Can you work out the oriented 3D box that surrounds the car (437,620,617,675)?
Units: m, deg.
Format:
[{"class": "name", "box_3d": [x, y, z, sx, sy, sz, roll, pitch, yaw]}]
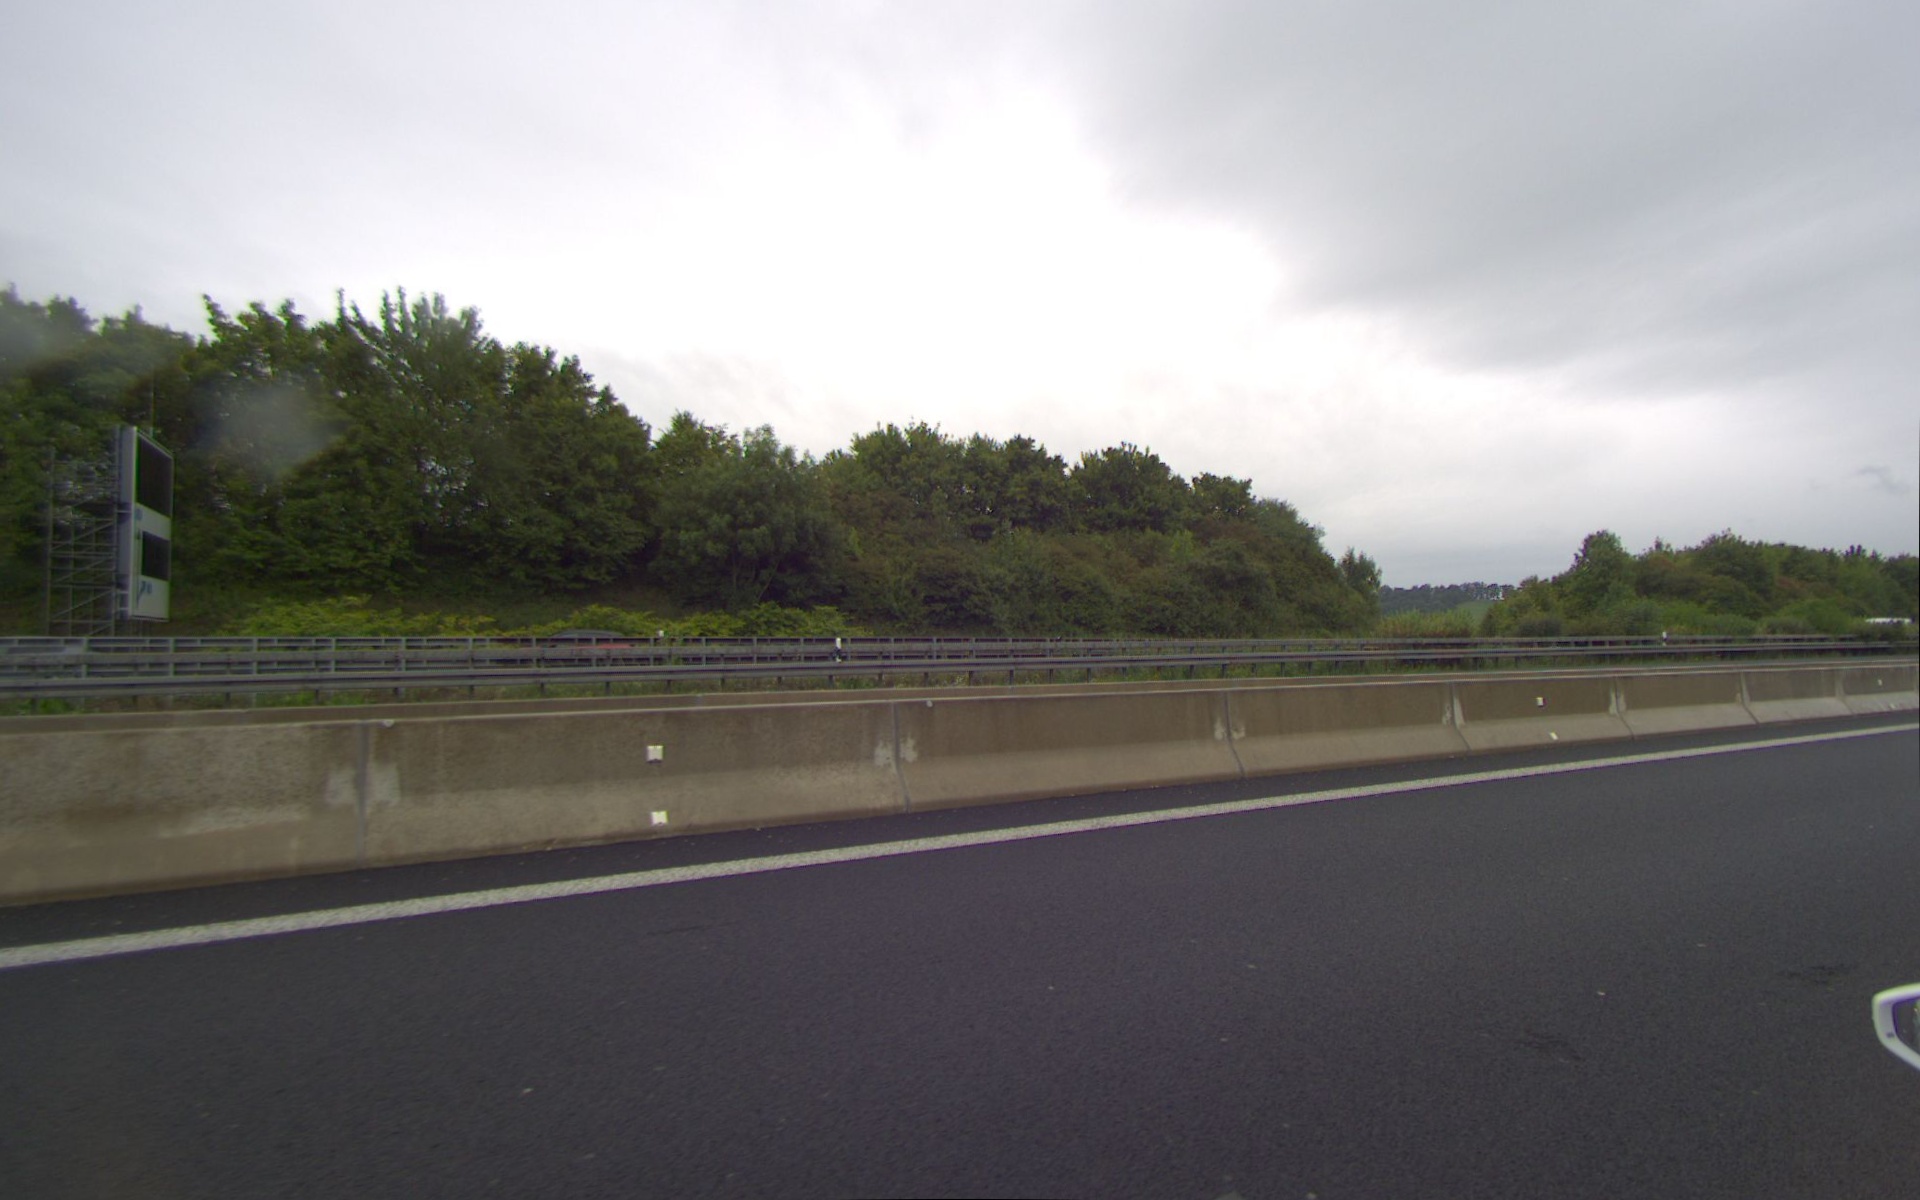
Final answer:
[{"class": "car", "box_3d": [-12.589, 1.364, 29.332, 4.525, 1.475, 1.806, 2, -1, -37]}]

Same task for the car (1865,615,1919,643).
[{"class": "car", "box_3d": [71.287, 2.231, 76.524, 5.235, 2.040, 1.865, 2, -1, -29]}]

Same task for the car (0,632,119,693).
[{"class": "car", "box_3d": [-24.783, 1.584, 25.672, 4.719, 1.475, 1.811, 2, -1, -29]}]
